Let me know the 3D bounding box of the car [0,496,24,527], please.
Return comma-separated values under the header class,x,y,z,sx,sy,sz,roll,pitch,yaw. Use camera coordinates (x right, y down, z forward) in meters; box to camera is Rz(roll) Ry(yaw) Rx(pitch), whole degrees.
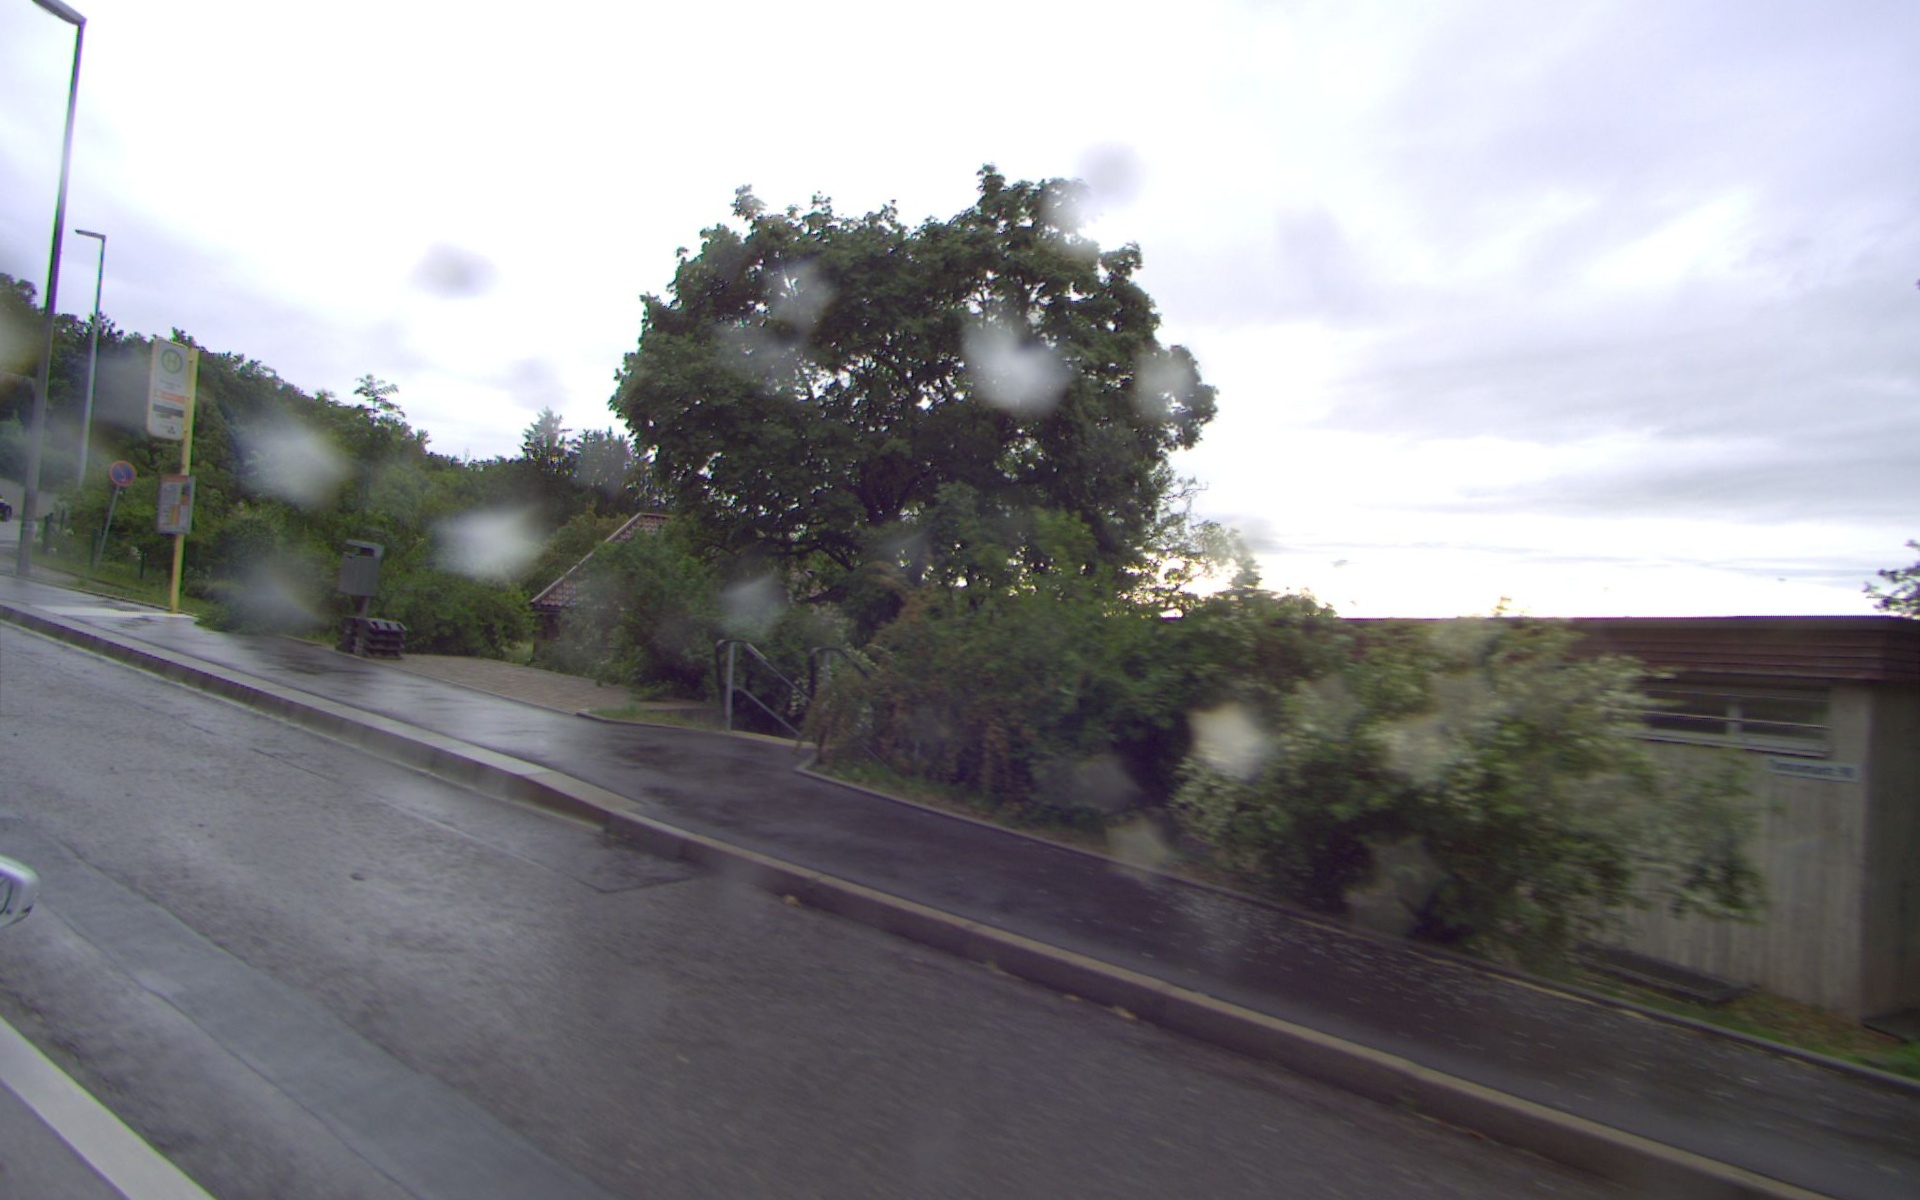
class,x,y,z,sx,sy,sz,roll,pitch,yaw
car,-46.336,-4.286,47.422,1.706,1.434,3.981,4,2,-19
